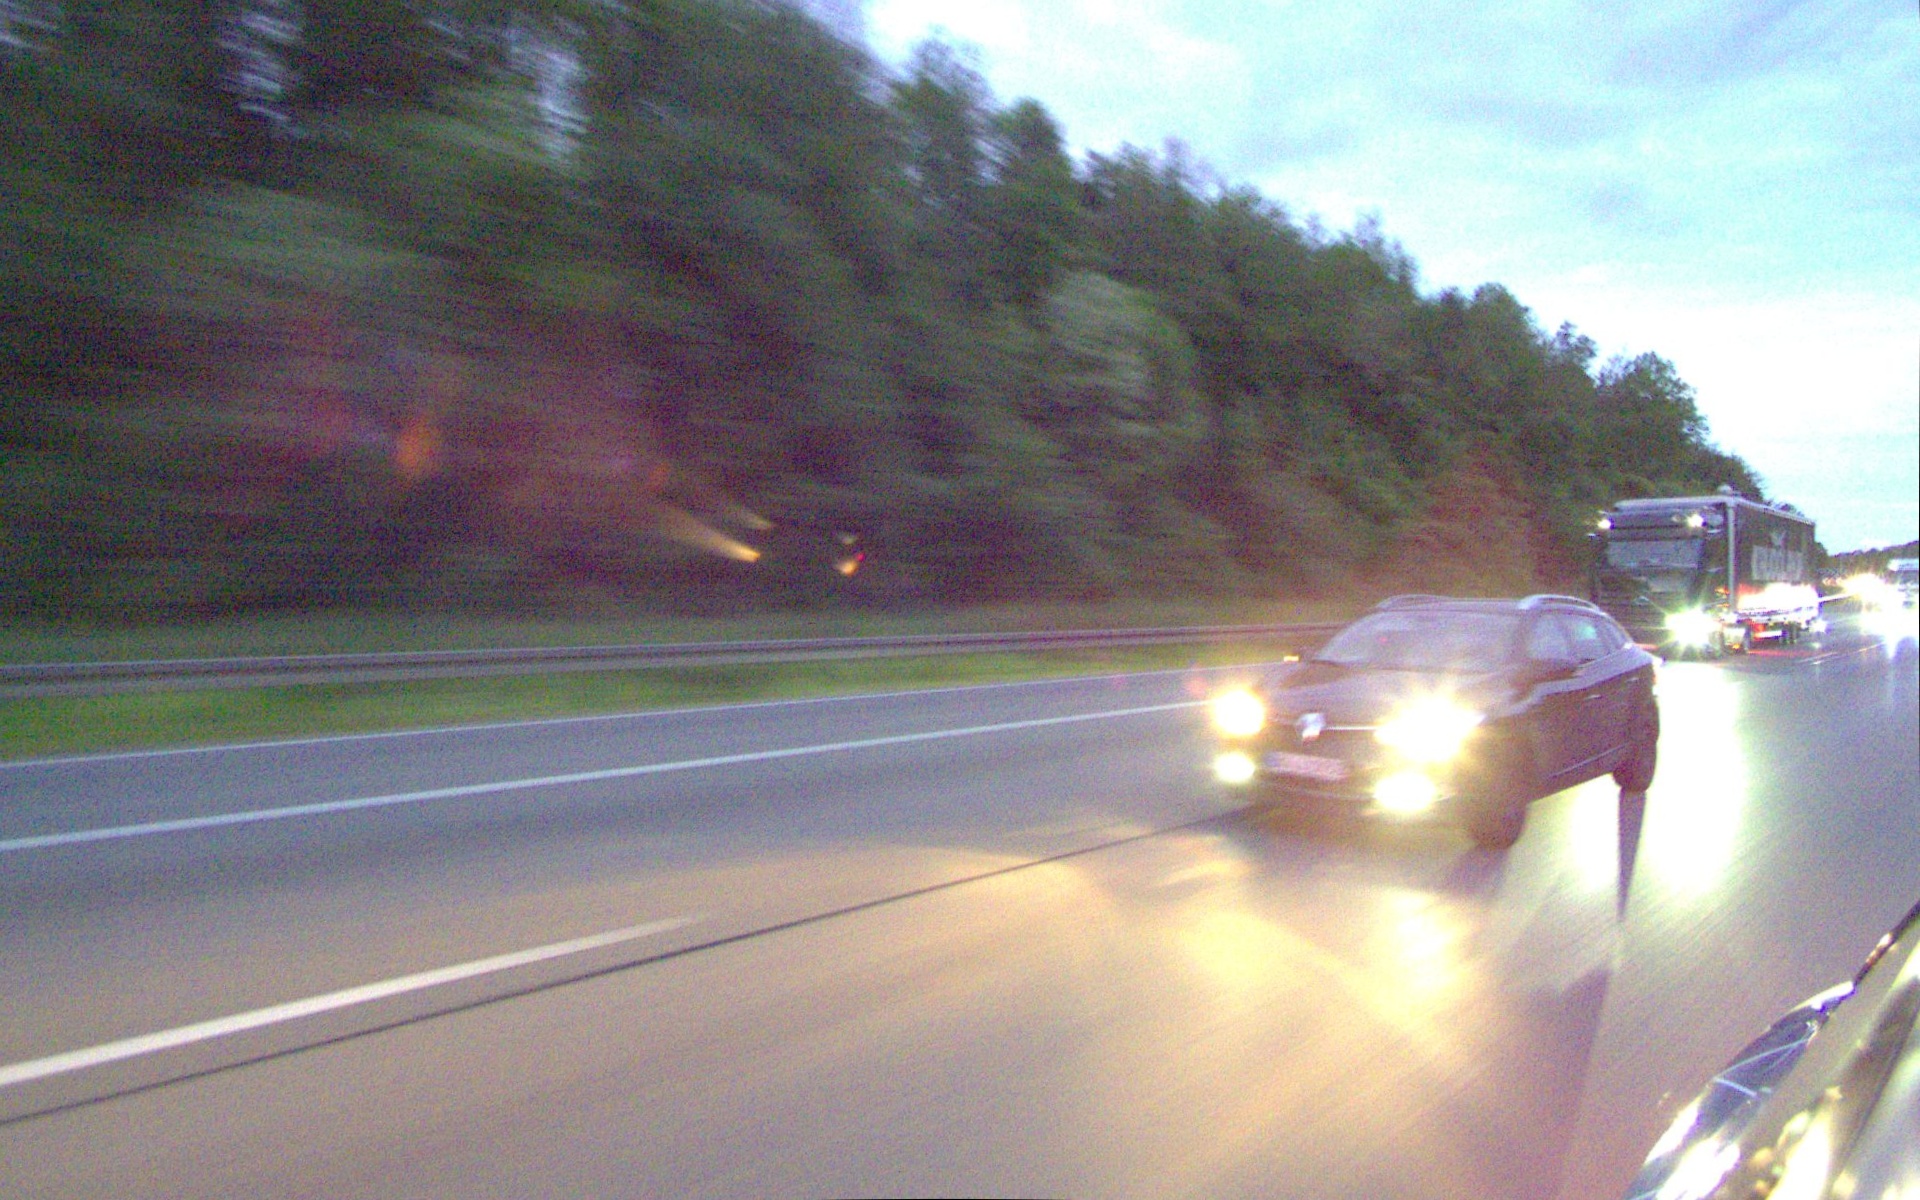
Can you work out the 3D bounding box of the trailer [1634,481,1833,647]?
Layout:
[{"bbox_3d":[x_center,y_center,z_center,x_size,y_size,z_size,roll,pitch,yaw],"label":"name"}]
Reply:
[{"bbox_3d":[23.635,-0.992,30.474,13.276,4.124,2.486,-1,1,-43],"label":"trailer"}]

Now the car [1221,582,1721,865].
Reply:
[{"bbox_3d":[4.118,0.629,7.695,4.863,1.508,1.694,-1,1,-41],"label":"car"}]

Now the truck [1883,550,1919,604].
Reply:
[{"bbox_3d":[76.041,-1.816,80.090,13.308,4.017,3.337,-1,1,-43],"label":"truck"}]

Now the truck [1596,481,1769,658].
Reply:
[{"bbox_3d":[18.497,-0.742,25.801,5.495,4.017,2.495,-1,1,-42],"label":"truck"}]
